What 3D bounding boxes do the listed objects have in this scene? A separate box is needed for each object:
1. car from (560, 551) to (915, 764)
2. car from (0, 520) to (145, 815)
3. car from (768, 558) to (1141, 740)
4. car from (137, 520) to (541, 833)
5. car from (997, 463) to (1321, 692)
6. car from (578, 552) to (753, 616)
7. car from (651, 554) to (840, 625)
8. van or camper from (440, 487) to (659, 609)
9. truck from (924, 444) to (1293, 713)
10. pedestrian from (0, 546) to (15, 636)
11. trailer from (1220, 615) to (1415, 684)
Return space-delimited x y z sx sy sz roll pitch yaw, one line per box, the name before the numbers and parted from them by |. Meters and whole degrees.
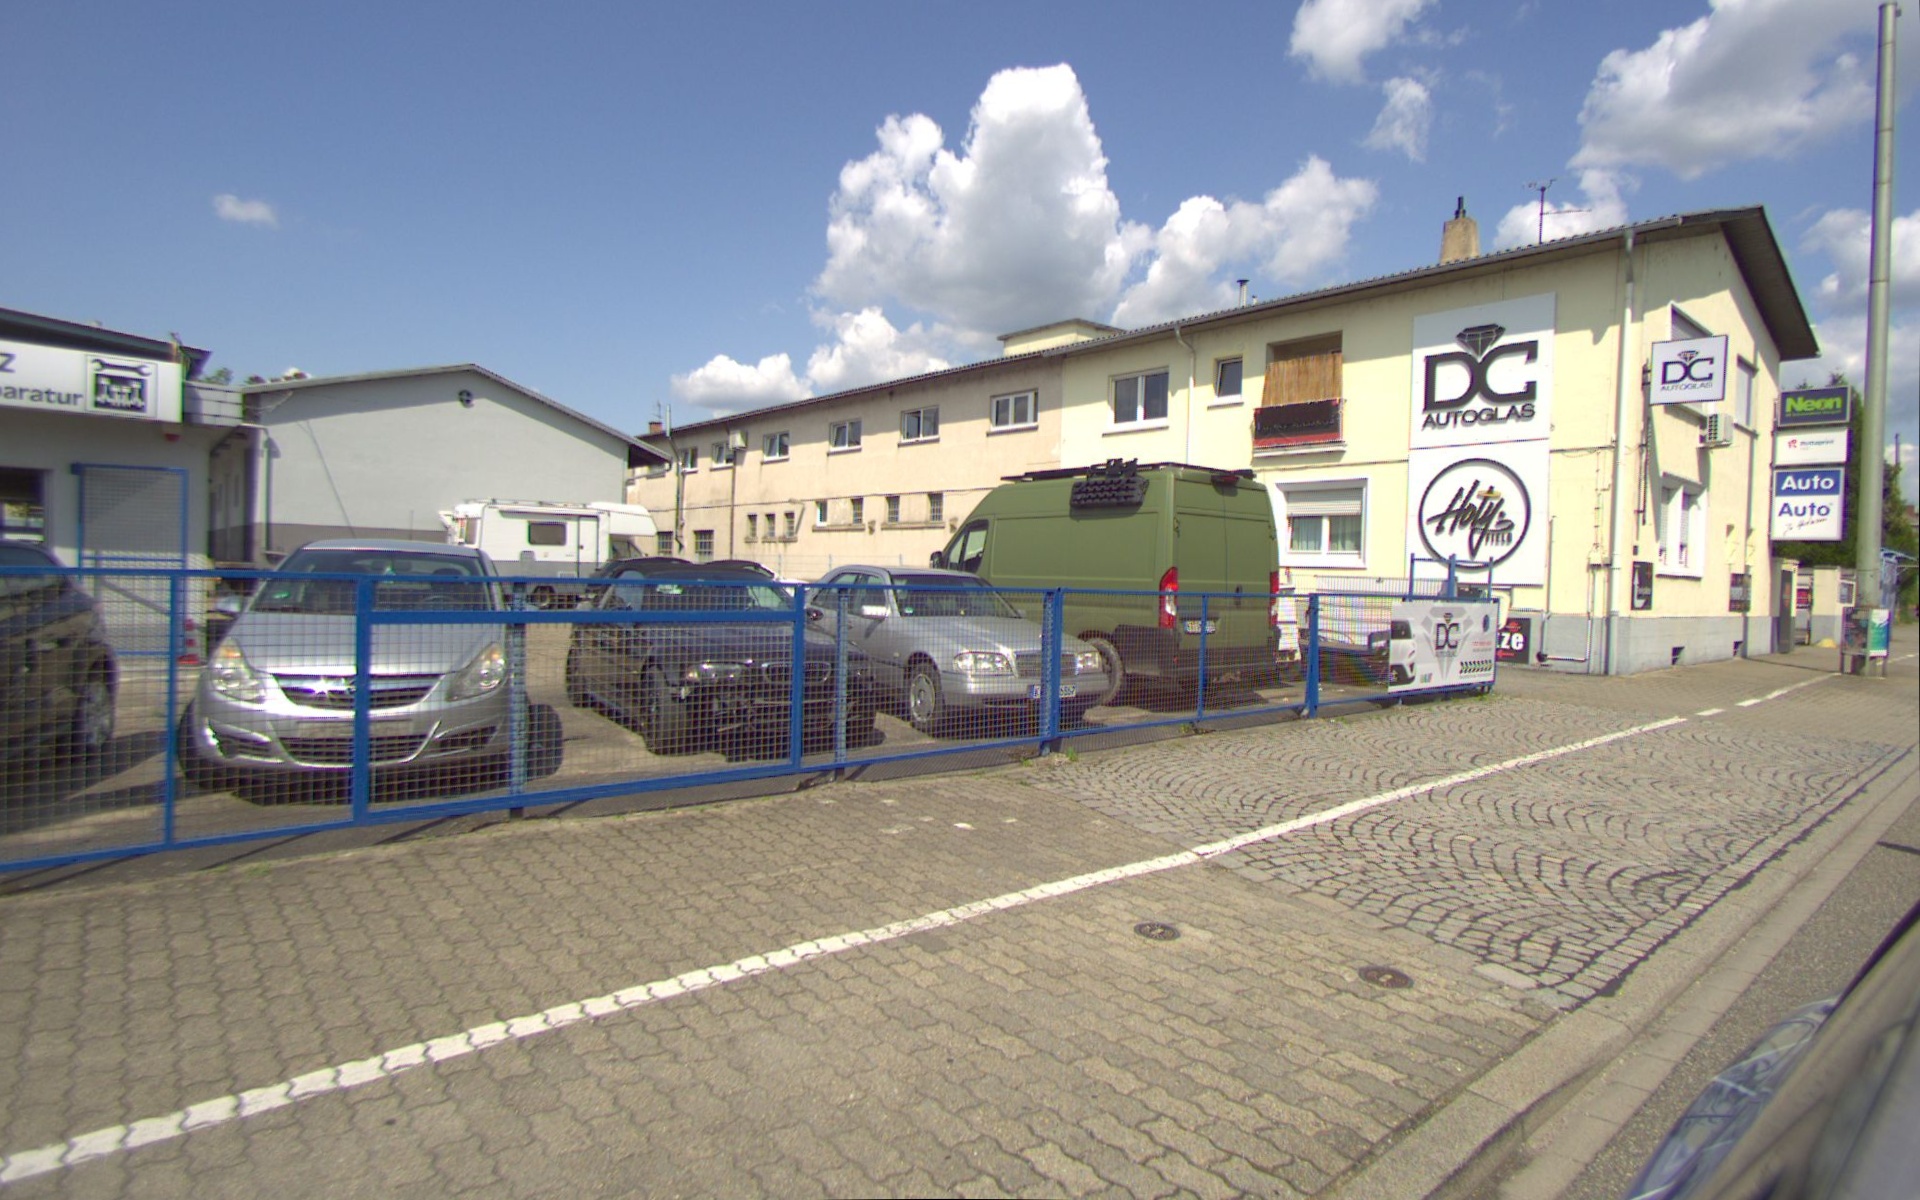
car | -2.125 0.310 8.742 1.768 1.403 3.837 1 2 -32
car | -5.747 0.324 5.030 1.685 1.497 4.012 1 2 -25
car | -0.296 0.320 10.202 1.768 1.413 4.216 1 2 -33
car | -3.951 0.302 7.098 1.766 1.497 4.158 1 2 -24
car | 2.612 -0.345 14.139 1.771 2.702 4.208 1 2 -40
car | -7.480 -0.410 25.886 3.939 1.497 1.719 0 2 -41
car | -4.927 -0.246 23.515 3.939 1.497 1.719 0 2 -41
van or camper | -11.008 -1.324 27.364 4.971 2.999 2.284 0 2 -42
truck | 1.623 -0.284 12.142 2.033 2.639 3.996 1 2 -40
pedestrian | -13.259 -0.129 13.837 0.479 1.228 0.501 1 1 -42
trailer | 5.082 0.670 14.525 1.245 0.776 2.330 0 2 -39
